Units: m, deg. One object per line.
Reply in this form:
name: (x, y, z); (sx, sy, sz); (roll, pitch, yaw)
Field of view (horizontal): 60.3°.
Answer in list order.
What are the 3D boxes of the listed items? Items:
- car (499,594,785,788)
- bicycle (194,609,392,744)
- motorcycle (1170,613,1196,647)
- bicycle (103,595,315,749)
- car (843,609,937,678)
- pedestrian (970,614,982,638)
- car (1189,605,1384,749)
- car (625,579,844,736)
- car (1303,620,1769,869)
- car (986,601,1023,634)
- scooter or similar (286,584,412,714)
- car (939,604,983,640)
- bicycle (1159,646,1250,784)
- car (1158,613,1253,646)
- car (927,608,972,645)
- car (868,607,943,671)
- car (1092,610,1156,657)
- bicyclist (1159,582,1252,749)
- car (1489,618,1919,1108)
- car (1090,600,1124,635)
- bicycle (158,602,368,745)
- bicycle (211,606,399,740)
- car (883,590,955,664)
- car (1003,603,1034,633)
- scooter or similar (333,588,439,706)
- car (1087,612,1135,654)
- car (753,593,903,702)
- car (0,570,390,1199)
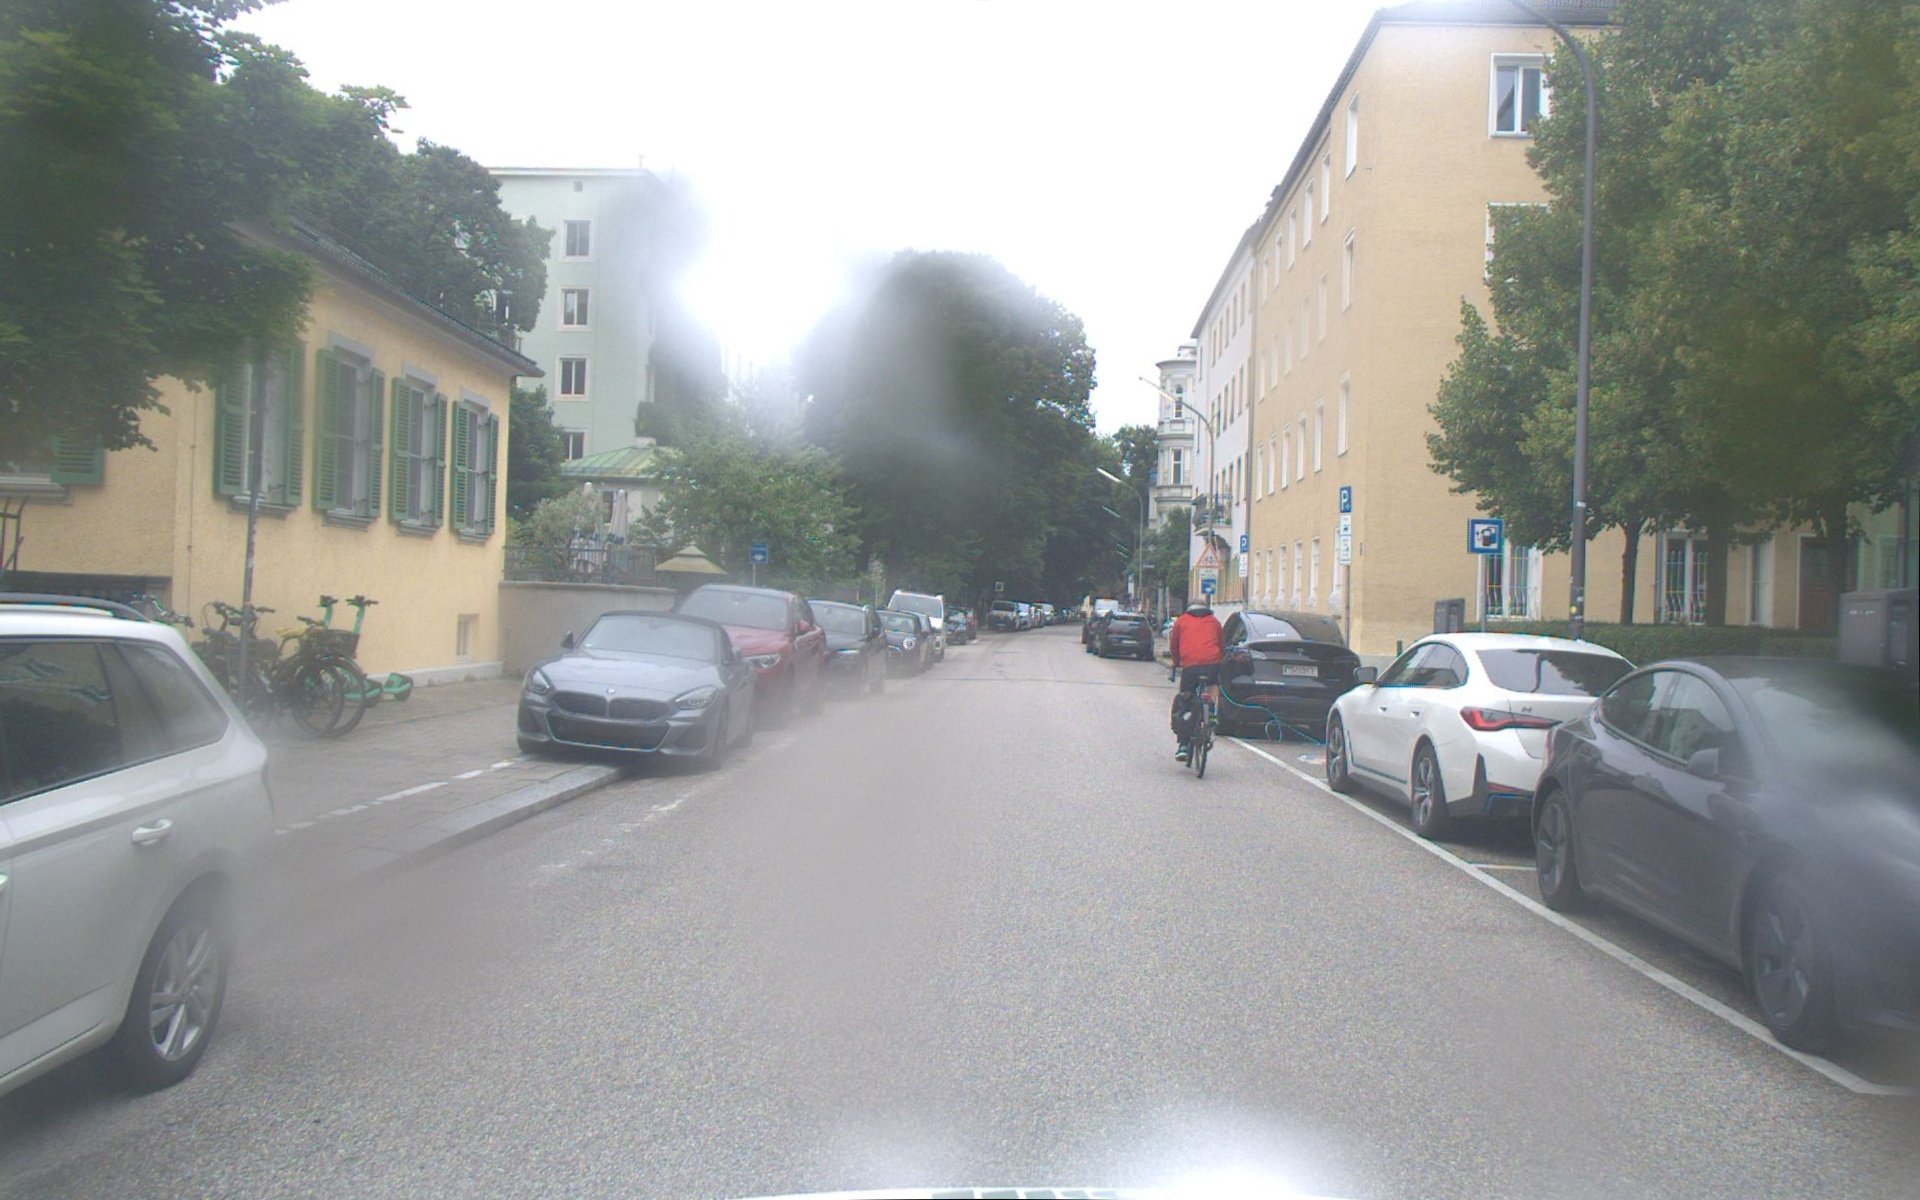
car: (-2.930, 0.781, 16.309); (1.858, 1.545, 4.654); (3, 0, 0)
bicycle: (-6.027, 0.683, 14.977); (1.595, 1.157, 0.387); (2, -1, 1)
motorcycle: (10.198, 1.357, 75.653); (0.839, 1.458, 2.707); (2, 0, 2)
bicycle: (-6.309, 0.591, 13.904); (1.594, 1.193, 0.467); (2, 0, 10)
car: (-1.614, 1.002, 39.461); (1.820, 1.572, 4.189); (0, -1, 4)
pedestrian: (1.060, 1.720, 109.890); (0.699, 1.575, 0.752); (3, -1, 0)
car: (4.342, 0.963, 22.777); (1.952, 1.659, 5.102); (3, 0, 4)
car: (-2.801, 0.688, 21.704); (1.862, 1.721, 4.810); (3, 0, 3)
car: (4.261, 0.970, 13.234); (1.953, 1.485, 4.956); (3, 0, 0)
car: (2.982, 1.128, 109.068); (2.201, 1.990, 5.455); (3, 0, 3)
scooter or similar: (-6.683, 0.527, 18.146); (0.368, 1.366, 1.350); (1, 0, 28)
car: (0.076, 1.048, 81.021); (1.848, 1.618, 4.529); (3, 0, 3)
bicycle: (2.293, 1.050, 15.692); (0.658, 1.161, 2.012); (3, -1, 5)
car: (13.043, 1.542, 87.929); (4.803, 1.558, 1.914); (1, 2, 3)
car: (-0.422, 1.121, 71.293); (1.770, 1.426, 4.924); (3, 0, 0)
car: (-1.407, 1.004, 44.549); (1.848, 1.571, 4.695); (2, 0, 0)
car: (5.833, 1.175, 59.368); (1.822, 1.604, 4.899); (1, 0, 1)
bicyclist: (2.331, 0.611, 15.797); (0.738, 1.509, 0.982); (3, -1, 4)
car: (4.161, 0.930, 7.775); (1.921, 1.579, 4.851); (3, 0, 3)
car: (9.615, 1.159, 108.580); (2.157, 2.247, 4.857); (0, -1, 4)
bicycle: (-6.142, 0.638, 14.604); (1.666, 1.192, 0.352); (2, -1, 1)
bicycle: (-6.132, 0.671, 15.528); (1.459, 1.169, 0.642); (2, 0, 4)
car: (-1.206, 0.796, 50.524); (1.926, 2.025, 5.151); (3, 0, 0)
car: (4.311, 1.300, 120.722); (2.138, 1.990, 5.168); (3, 0, 3)
scooter or similar: (-6.725, 0.544, 19.431); (0.356, 1.337, 1.252); (1, 0, 26)
car: (5.884, 1.249, 64.812); (1.800, 1.558, 4.417); (1, 0, 4)
car: (-2.179, 0.774, 28.600); (1.807, 1.635, 4.745); (3, 0, 4)
car: (-3.090, 0.665, 3.969); (1.689, 1.518, 4.462); (3, 0, 2)
